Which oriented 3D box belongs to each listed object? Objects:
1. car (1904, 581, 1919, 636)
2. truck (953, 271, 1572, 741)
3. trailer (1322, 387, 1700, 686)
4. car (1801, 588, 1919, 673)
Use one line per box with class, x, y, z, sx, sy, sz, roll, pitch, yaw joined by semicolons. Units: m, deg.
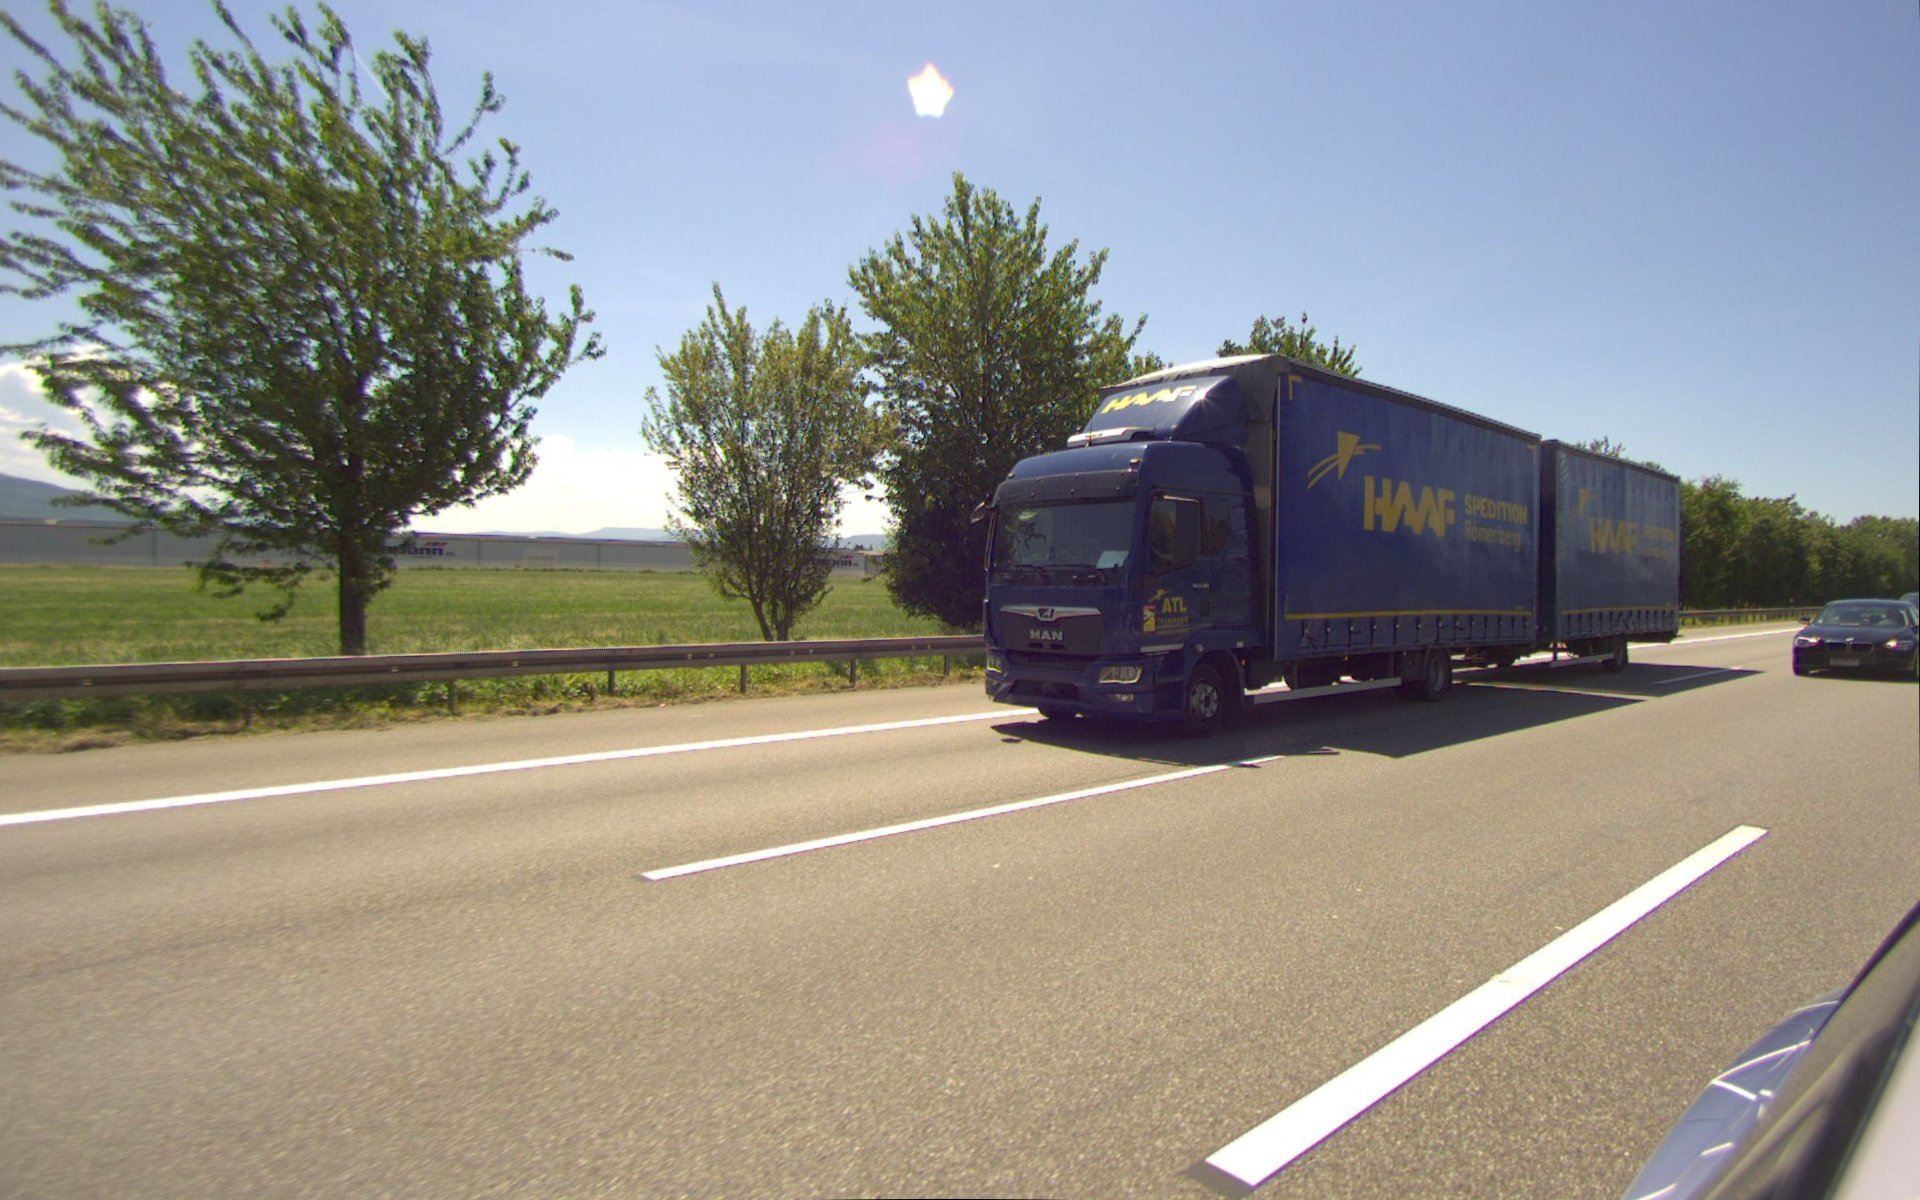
car;31.197;0.270;31.777;3.931;1.664;1.885;0;1;-42
truck;4.837;-0.911;13.730;10.618;4.257;2.795;0;1;-41
trailer;10.812;-0.967;19.008;10.620;4.257;2.795;0;1;-42
car;17.682;0.502;19.329;4.420;1.435;1.839;0;2;-42
